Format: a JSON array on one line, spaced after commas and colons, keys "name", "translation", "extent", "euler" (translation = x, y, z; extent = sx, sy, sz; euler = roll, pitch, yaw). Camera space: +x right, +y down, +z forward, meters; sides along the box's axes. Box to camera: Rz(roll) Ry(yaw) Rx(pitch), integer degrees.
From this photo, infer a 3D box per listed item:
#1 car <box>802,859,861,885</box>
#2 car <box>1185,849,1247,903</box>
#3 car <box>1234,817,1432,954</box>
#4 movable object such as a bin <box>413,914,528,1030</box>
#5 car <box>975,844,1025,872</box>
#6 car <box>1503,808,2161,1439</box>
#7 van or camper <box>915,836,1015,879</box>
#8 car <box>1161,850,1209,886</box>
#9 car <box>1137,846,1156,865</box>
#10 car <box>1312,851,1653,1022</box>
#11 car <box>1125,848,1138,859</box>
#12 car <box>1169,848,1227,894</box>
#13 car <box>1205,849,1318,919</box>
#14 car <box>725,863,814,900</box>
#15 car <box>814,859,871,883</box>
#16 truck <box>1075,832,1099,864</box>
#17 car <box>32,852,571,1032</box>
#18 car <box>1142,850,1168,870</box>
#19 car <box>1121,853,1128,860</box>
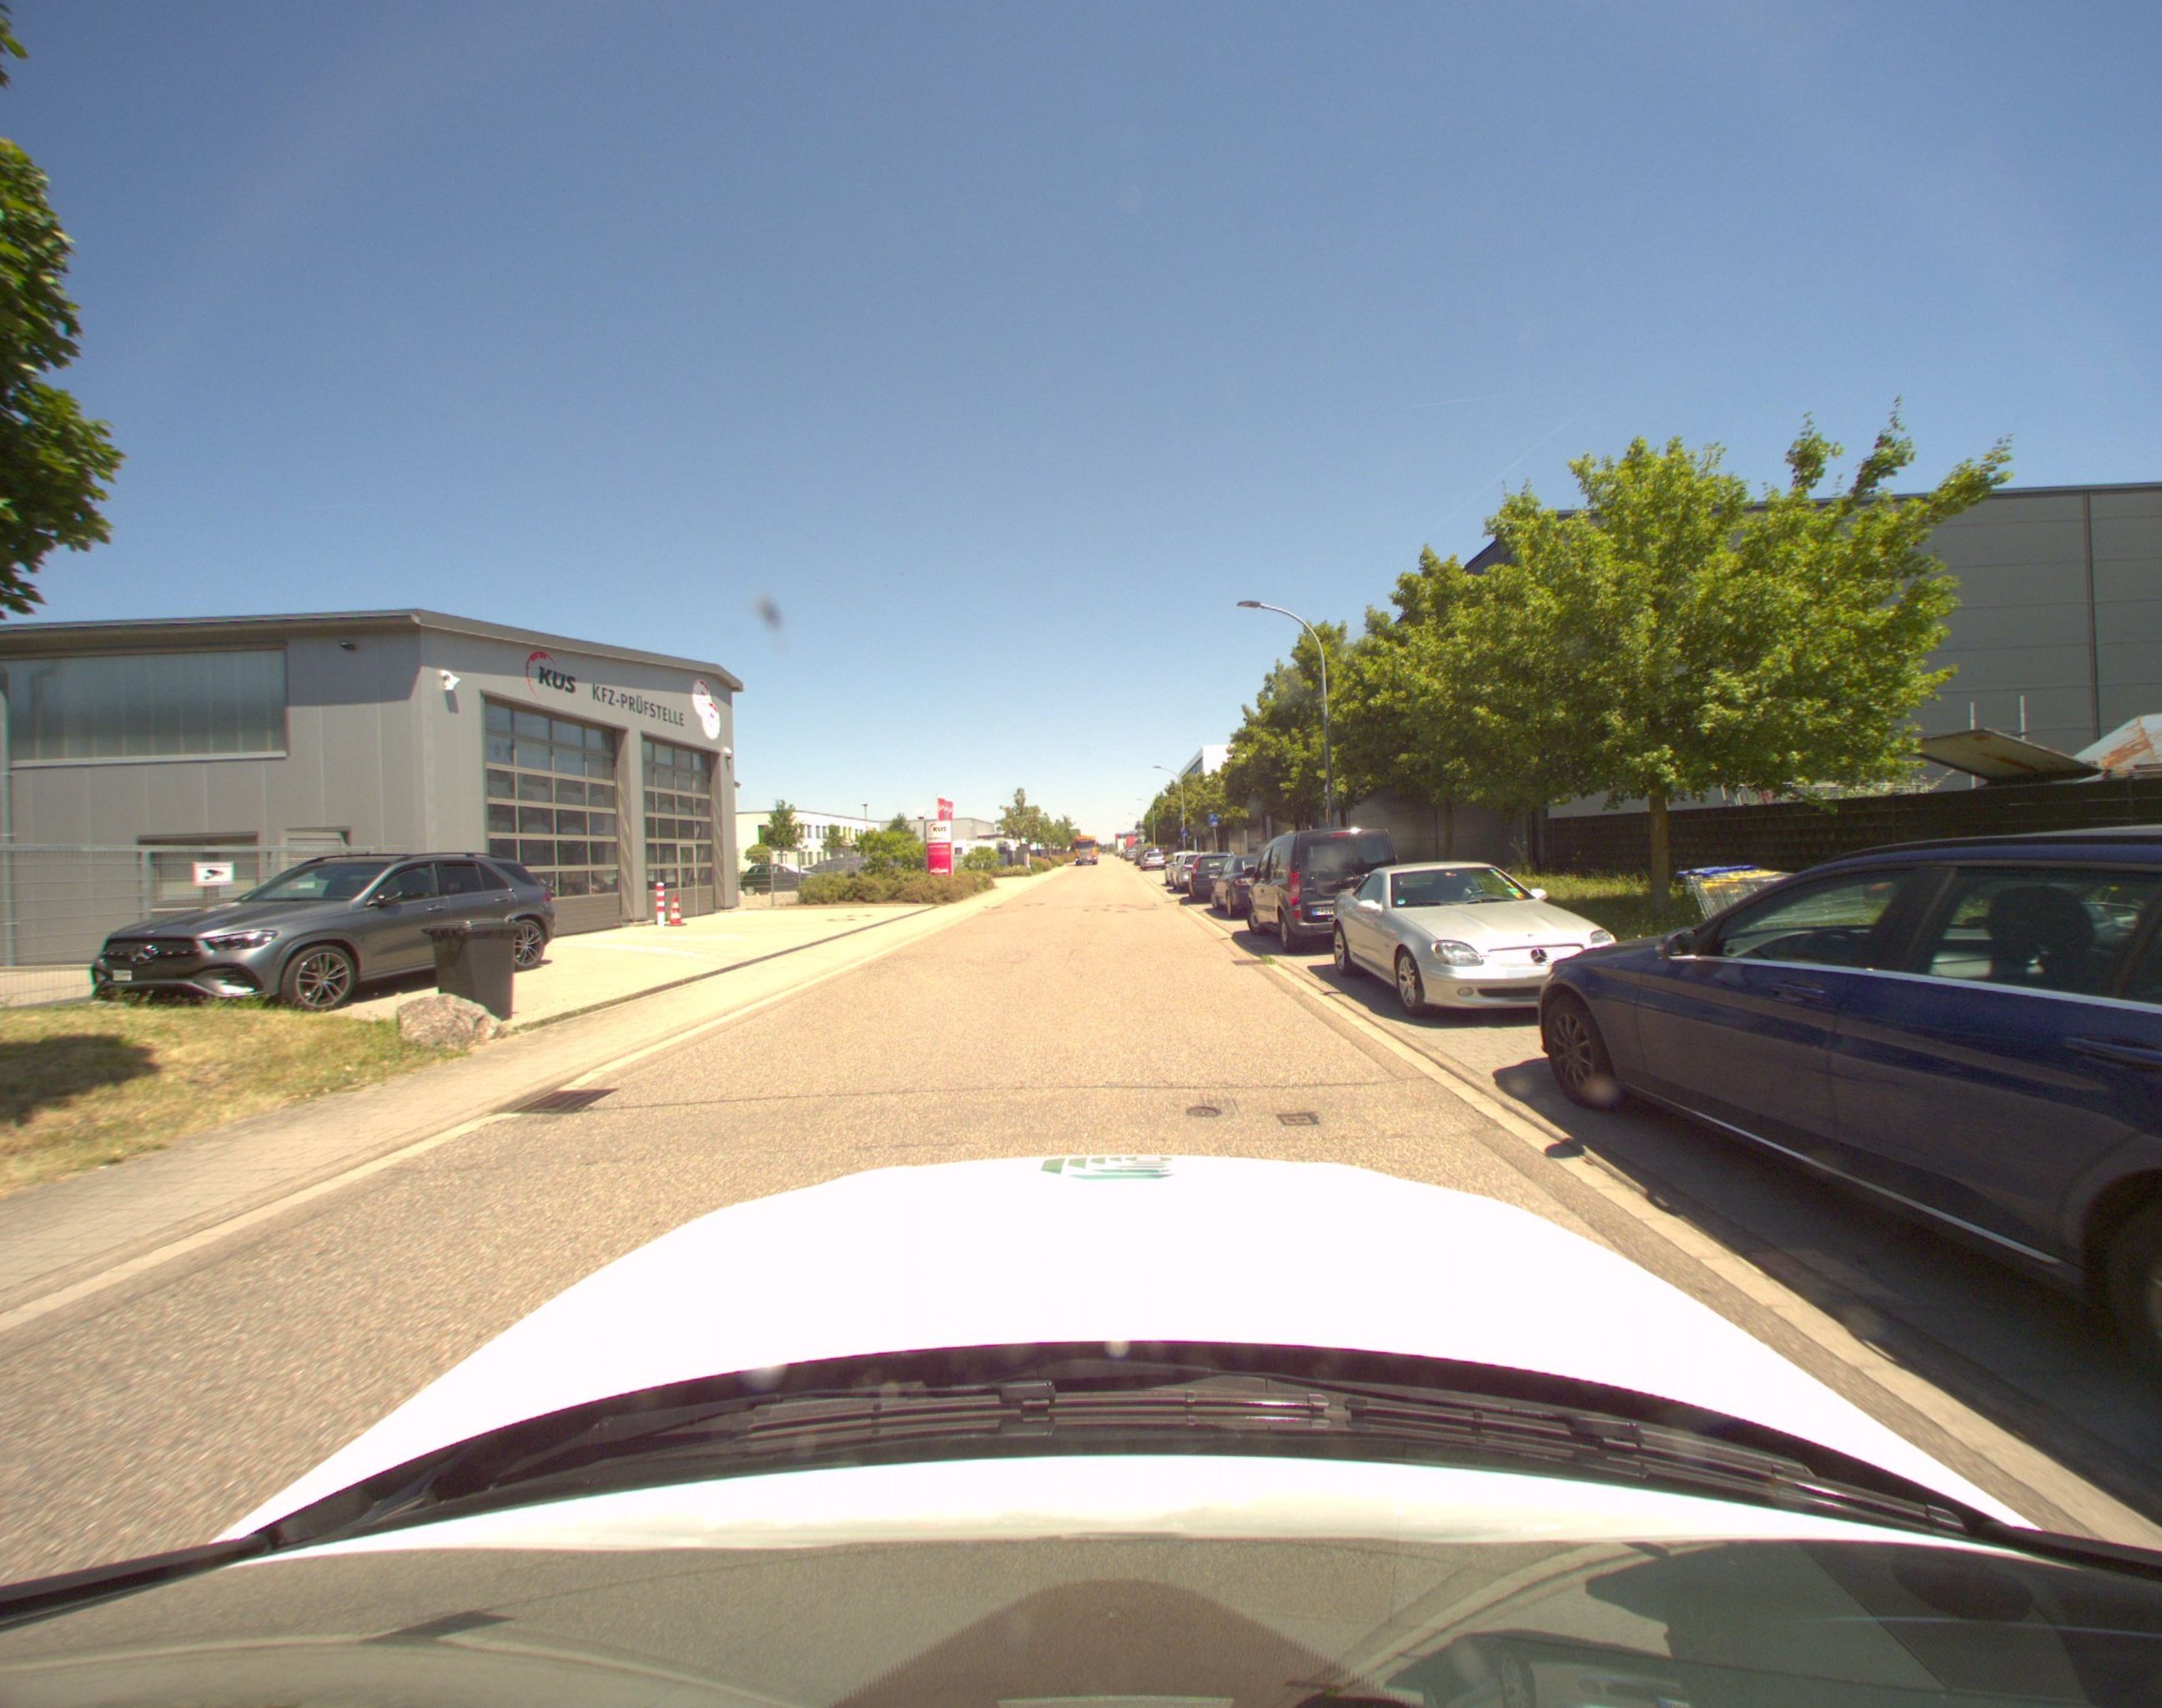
[{"name": "car", "translation": [-19.713, 1.407, 64.496], "extent": [3.973, 1.816, 1.917], "euler": [-3, 0, 1]}, {"name": "car", "translation": [4.221, 0.656, 26.004], "extent": [1.700, 1.504, 4.715], "euler": [-3, -1, 7]}, {"name": "car", "translation": [3.935, 0.462, 13.568], "extent": [1.986, 1.825, 4.355], "euler": [-3, -1, 1]}, {"name": "movable object such as a bin", "translation": [-6.196, 1.176, 8.306], "extent": [0.577, 1.065, 0.766], "euler": [0, 0, 1]}, {"name": "car", "translation": [-8.092, 0.394, 81.386], "extent": [4.703, 2.586, 1.998], "euler": [-3, 0, -3]}, {"name": "car", "translation": [3.549, 0.608, 3.032], "extent": [1.820, 1.493, 4.483], "euler": [-3, 0, 4]}, {"name": "van or camper", "translation": [-9.179, 0.269, 65.084], "extent": [7.359, 3.037, 2.791], "euler": [-2, 0, 1]}, {"name": "car", "translation": [4.729, 0.591, 37.437], "extent": [1.631, 1.469, 3.744], "euler": [-3, 0, -1]}, {"name": "car", "translation": [6.439, 0.143, 80.740], "extent": [1.715, 1.694, 3.987], "euler": [-2, 0, 3]}, {"name": "car", "translation": [3.761, 0.688, 8.519], "extent": [1.704, 1.287, 4.119], "euler": [-3, -1, 4]}, {"name": "car", "translation": [6.804, -0.015, 109.797], "extent": [1.579, 1.409, 3.501], "euler": [-2, 0, 2]}, {"name": "car", "translation": [4.492, 0.597, 31.839], "extent": [1.741, 1.562, 4.509], "euler": [-3, 0, 3]}, {"name": "car", "translation": [4.275, 0.675, 20.061], "extent": [1.843, 1.431, 4.715], "euler": [-3, -1, 2]}, {"name": "car", "translation": [-14.414, 1.266, 37.857], "extent": [3.493, 1.552, 1.556], "euler": [-2, 0, -3]}, {"name": "car", "translation": [-19.583, 1.392, 66.943], "extent": [3.973, 1.816, 1.917], "euler": [-3, 0, 1]}, {"name": "truck", "translation": [0.745, -0.673, 96.654], "extent": [2.439, 3.513, 8.276], "euler": [-3, 0, 2]}, {"name": "car", "translation": [-9.389, 0.878, 10.626], "extent": [1.984, 1.735, 4.921], "euler": [-1, 1, 5]}, {"name": "car", "translation": [5.704, 0.434, 62.853], "extent": [1.712, 1.450, 3.647], "euler": [-3, 0, 2]}, {"name": "car", "translation": [9.256, 0.458, 174.210], "extent": [1.489, 1.409, 3.501], "euler": [-2, 0, 2]}]
